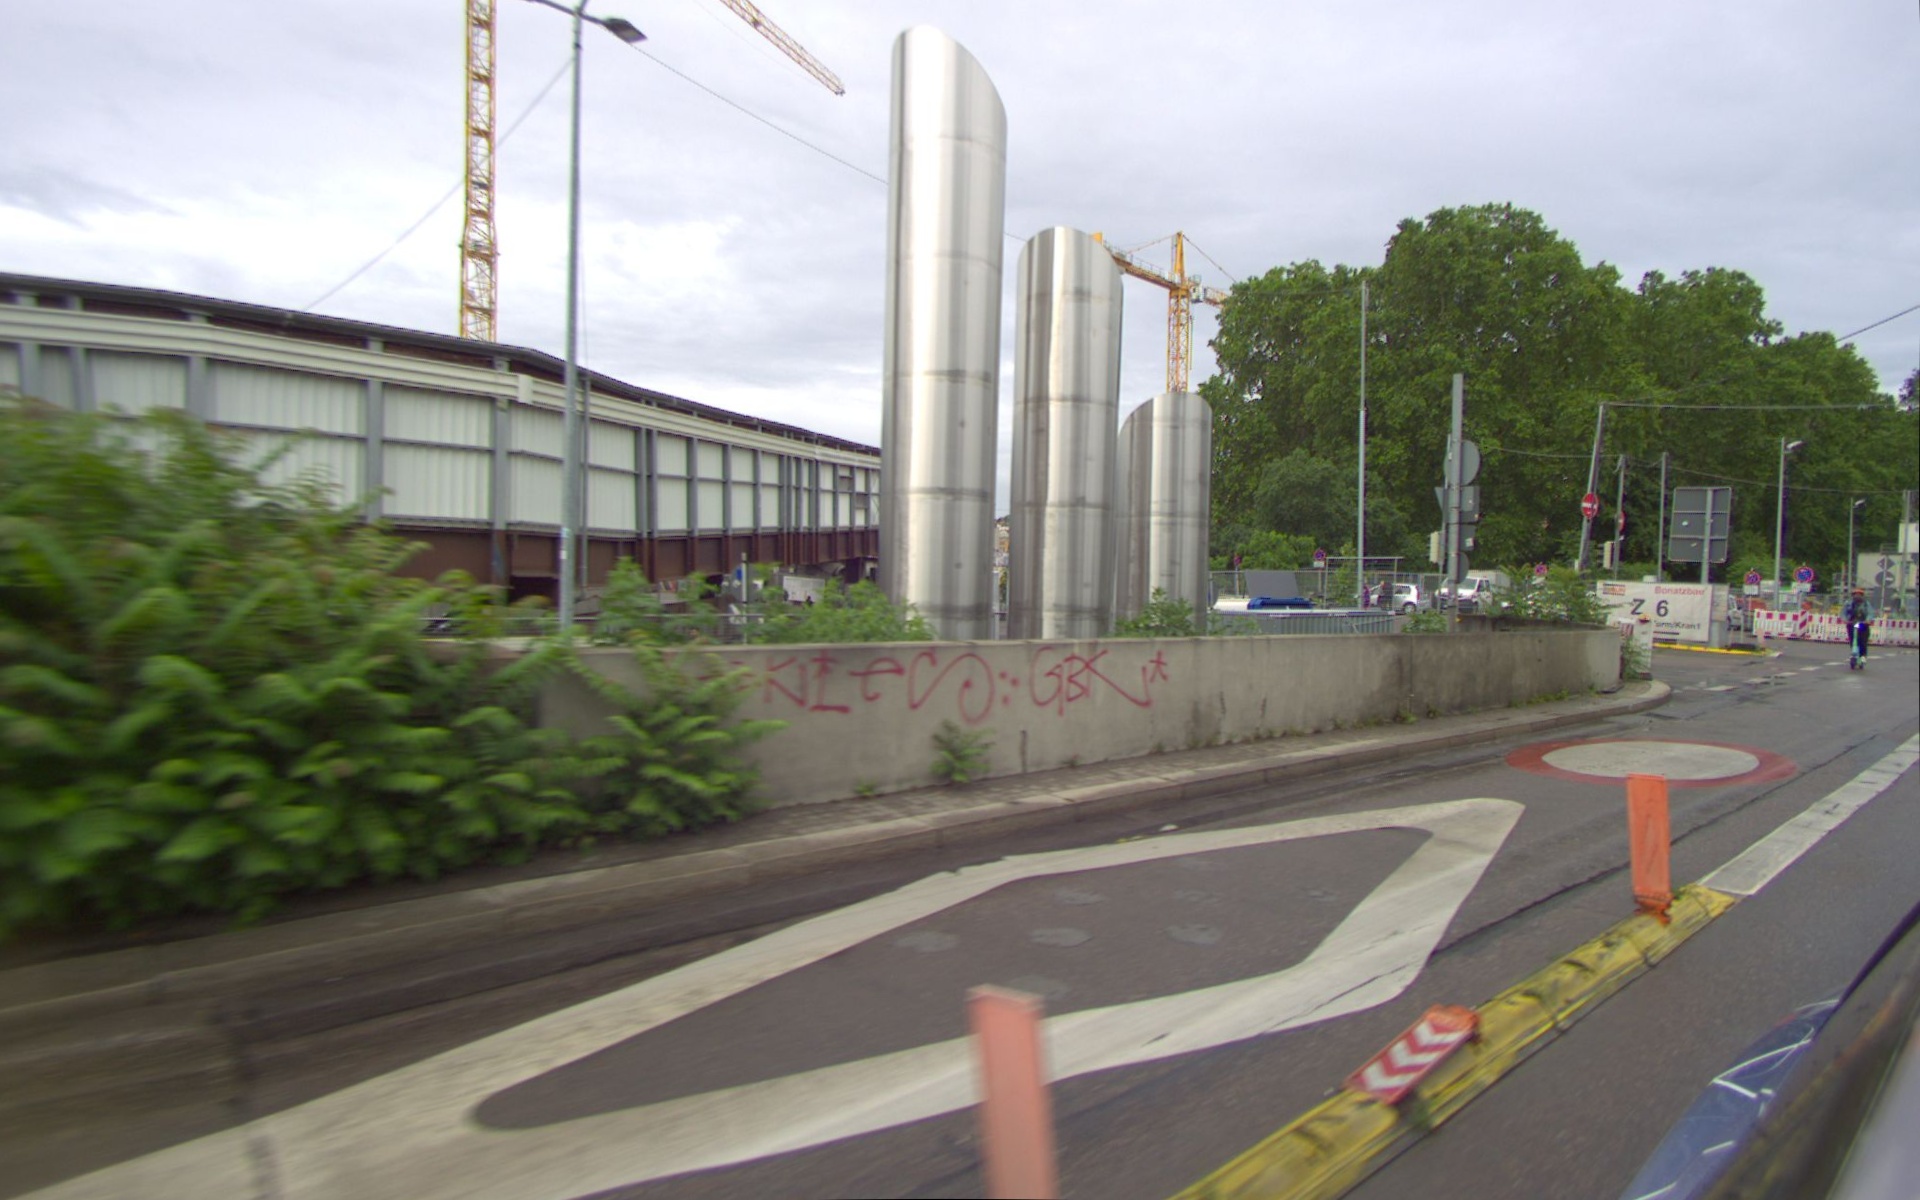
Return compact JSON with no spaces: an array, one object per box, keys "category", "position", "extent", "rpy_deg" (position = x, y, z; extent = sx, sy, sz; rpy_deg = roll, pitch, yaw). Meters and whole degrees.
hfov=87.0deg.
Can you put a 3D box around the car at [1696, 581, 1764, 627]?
[{"category":"car","position":[38.498,0.209,50.596],"extent":[4.119,2.092,1.996],"rpy_deg":[3,1,-43]}]

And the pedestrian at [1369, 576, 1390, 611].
[{"category":"pedestrian","position":[19.694,-0.300,47.488],"extent":[0.650,1.594,0.652],"rpy_deg":[4,0,42]}]

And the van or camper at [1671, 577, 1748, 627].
[{"category":"van or camper","position":[34.850,0.130,47.001],"extent":[2.118,2.054,4.931],"rpy_deg":[4,1,44]}]

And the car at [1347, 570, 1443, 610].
[{"category":"car","position":[20.751,-0.497,48.302],"extent":[3.717,1.657,1.969],"rpy_deg":[4,1,42]}]

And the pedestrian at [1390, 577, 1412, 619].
[{"category":"pedestrian","position":[20.370,-0.082,46.730],"extent":[0.650,1.894,0.652],"rpy_deg":[4,0,42]}]

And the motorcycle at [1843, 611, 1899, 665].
[{"category":"motorcycle","position":[22.666,0.954,25.168],"extent":[2.123,1.244,0.729],"rpy_deg":[3,1,-41]}]

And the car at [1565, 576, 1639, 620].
[{"category":"car","position":[27.288,-0.055,42.951],"extent":[1.993,1.657,4.126],"rpy_deg":[4,1,41]}]

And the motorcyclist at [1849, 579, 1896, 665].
[{"category":"motorcyclist","position":[22.702,0.543,25.177],"extent":[0.577,2.061,0.725],"rpy_deg":[3,0,-41]}]

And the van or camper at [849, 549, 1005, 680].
[{"category":"van or camper","position":[-0.528,0.250,22.961],"extent":[2.347,2.432,6.048],"rpy_deg":[3,1,9]}]
